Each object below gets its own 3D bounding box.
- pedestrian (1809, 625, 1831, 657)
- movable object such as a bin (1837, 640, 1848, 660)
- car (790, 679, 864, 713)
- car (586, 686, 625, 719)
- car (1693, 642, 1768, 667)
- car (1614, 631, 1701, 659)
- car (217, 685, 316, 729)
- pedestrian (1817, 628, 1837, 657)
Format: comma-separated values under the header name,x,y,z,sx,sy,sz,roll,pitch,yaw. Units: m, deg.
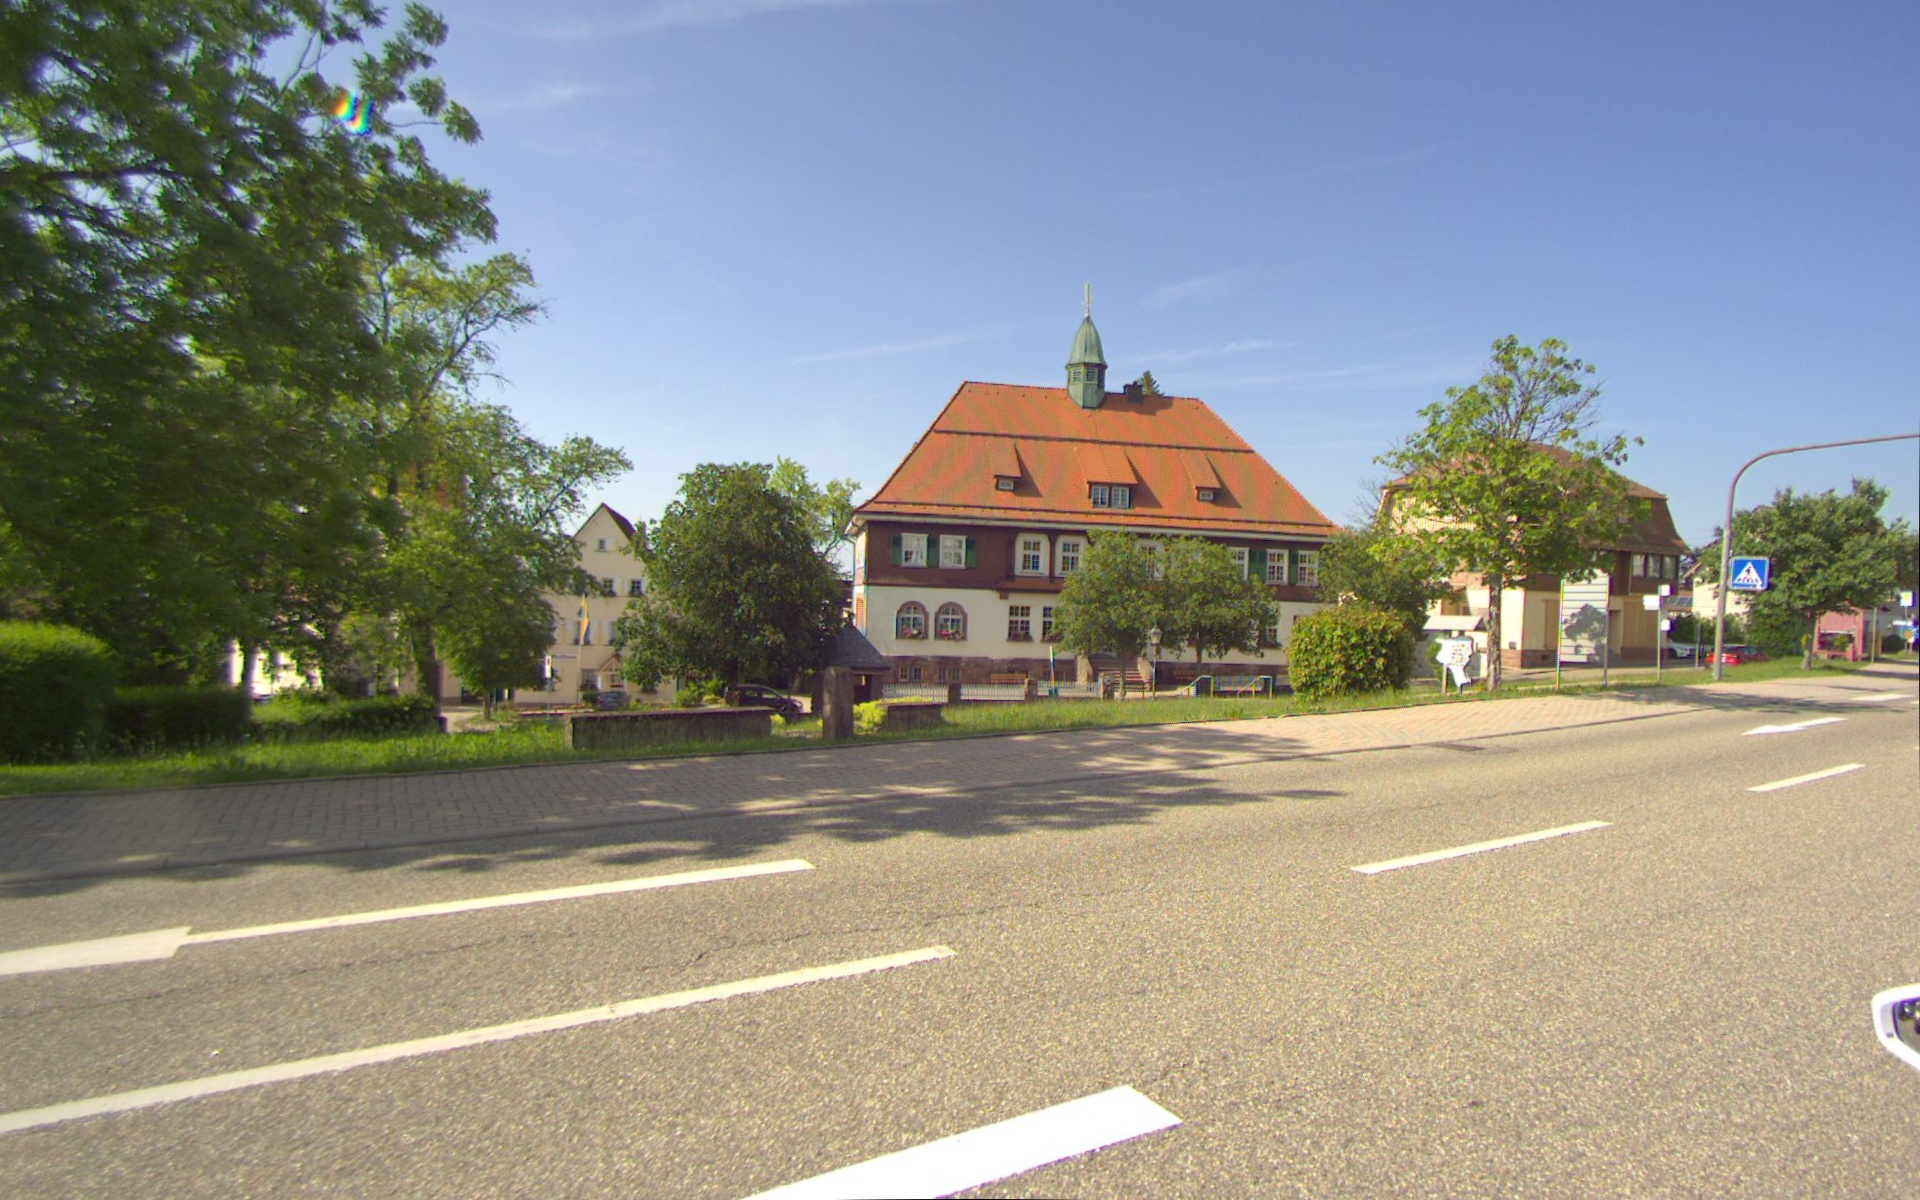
name,x,y,z,sx,sy,sz,roll,pitch,yaw
pedestrian,37.833,1.811,44.180,0.669,1.382,0.612,0,-1,-42
movable object such as a bin,36.861,2.092,41.972,0.482,0.848,0.302,2,-2,-43
car,-6.363,4.556,47.913,3.440,1.486,1.575,1,-2,-11
car,-20.141,5.801,57.184,1.969,1.639,3.984,1,-3,-19
car,42.339,2.995,55.158,3.947,1.314,1.715,1,-2,-26
car,45.569,2.912,65.683,1.779,1.531,4.280,4,-1,-30
car,-35.348,5.406,51.338,3.951,2.040,1.986,1,-3,-29
pedestrian,38.399,1.863,44.480,0.421,1.269,0.623,2,-3,-43
